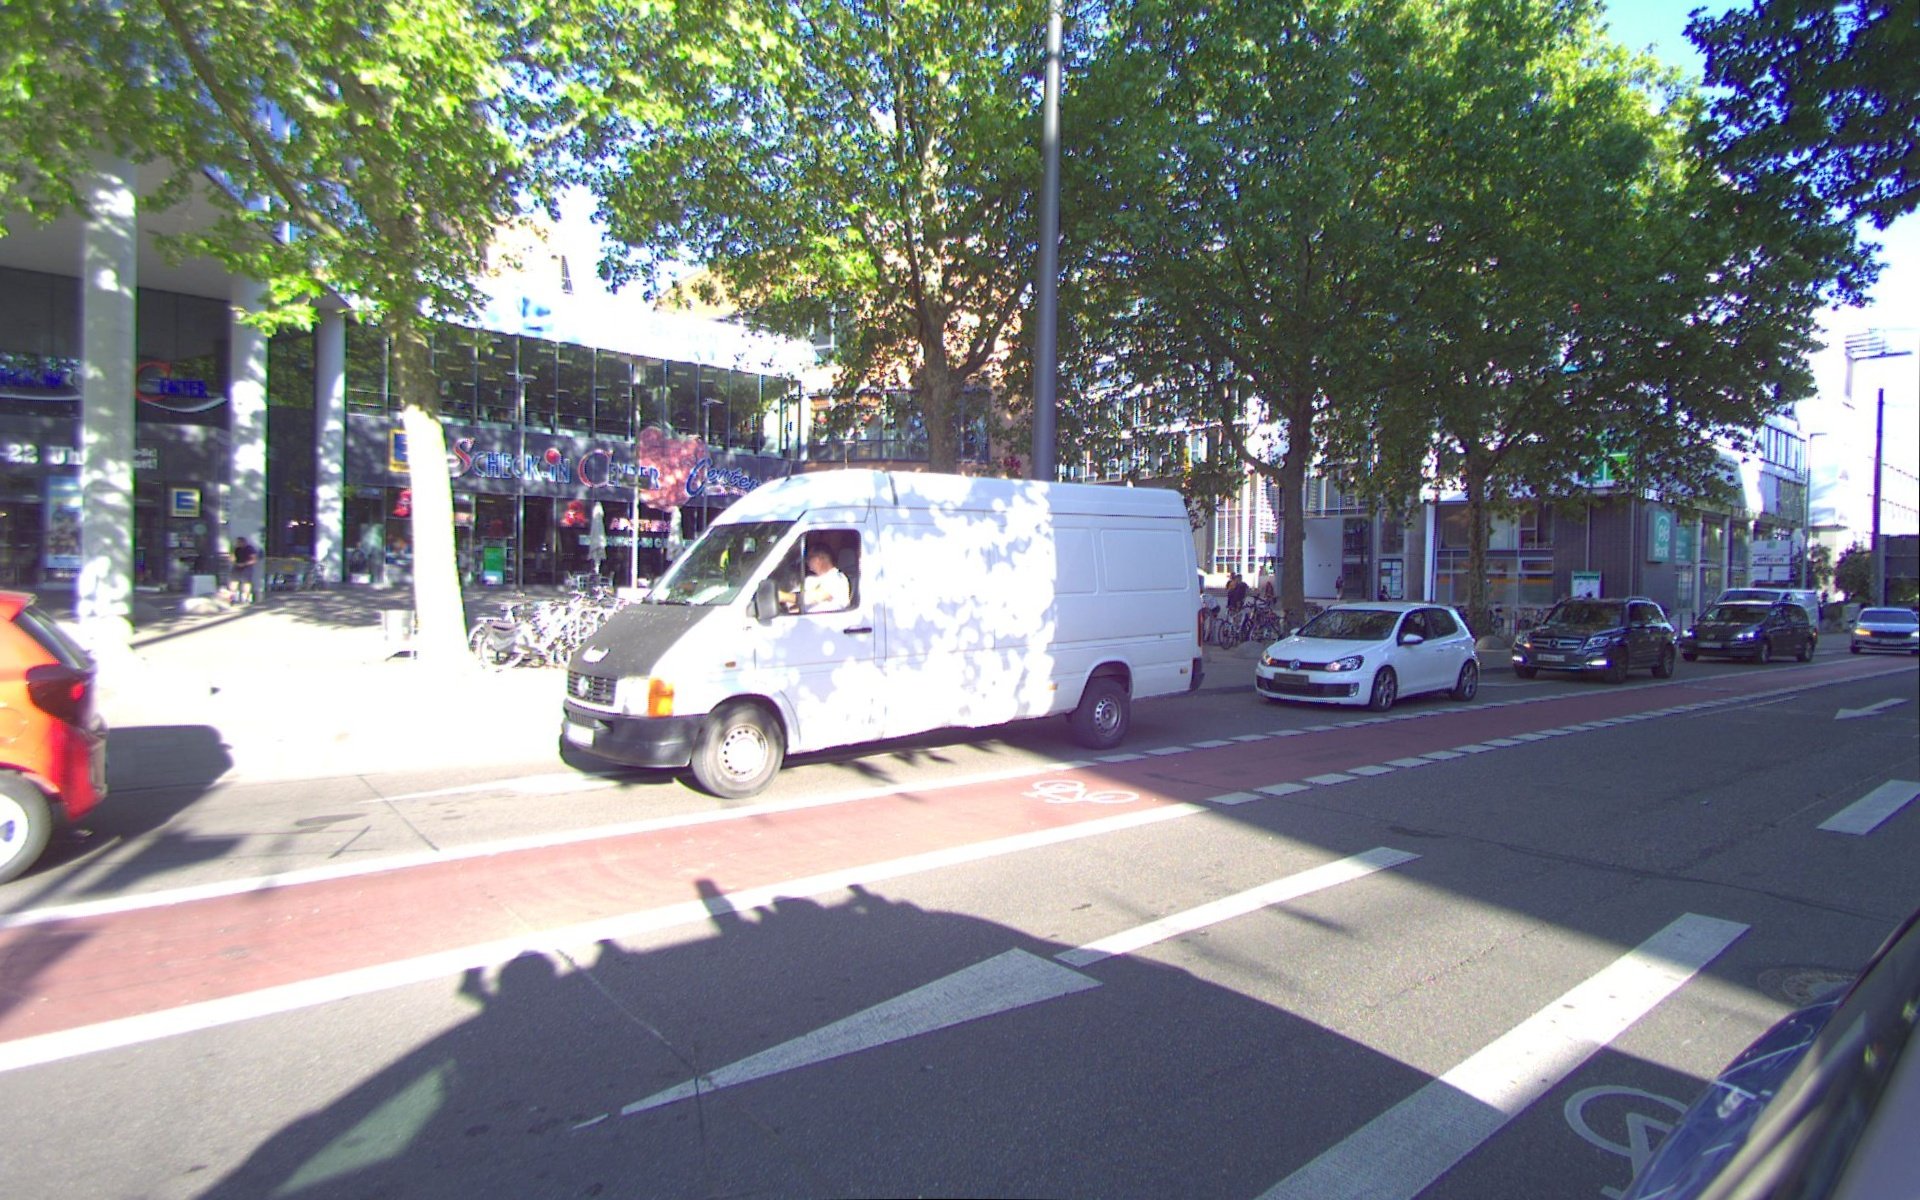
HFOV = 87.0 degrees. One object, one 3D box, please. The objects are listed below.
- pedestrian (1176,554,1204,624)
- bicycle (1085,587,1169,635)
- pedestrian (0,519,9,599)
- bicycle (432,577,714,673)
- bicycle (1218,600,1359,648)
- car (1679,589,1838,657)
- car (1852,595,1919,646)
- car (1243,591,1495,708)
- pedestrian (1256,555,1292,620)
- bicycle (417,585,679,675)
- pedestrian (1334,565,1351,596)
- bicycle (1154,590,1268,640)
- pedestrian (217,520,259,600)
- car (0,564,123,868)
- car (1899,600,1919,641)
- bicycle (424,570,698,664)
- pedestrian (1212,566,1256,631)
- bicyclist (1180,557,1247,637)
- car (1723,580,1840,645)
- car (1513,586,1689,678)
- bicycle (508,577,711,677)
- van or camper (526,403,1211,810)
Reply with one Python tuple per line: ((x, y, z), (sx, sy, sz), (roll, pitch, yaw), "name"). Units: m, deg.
((8.862, -0.421, 38.956), (0.967, 2.681, 0.897), (0, 0, 18), "pedestrian")
((4.501, 0.269, 27.115), (2.653, 1.215, 0.698), (-1, 1, -41), "bicycle")
((-23.466, -0.986, 24.099), (0.857, 1.912, 0.813), (1, 2, 2), "pedestrian")
((-5.518, 0.302, 14.694), (3.744, 1.236, 0.758), (-2, 1, -35), "bicycle")
((7.596, 0.539, 23.396), (3.136, 1.038, 0.979), (0, 0, -18), "bicycle")
((21.050, 0.560, 26.646), (4.301, 1.656, 1.714), (0, 0, -28), "car")
((29.423, 0.608, 31.919), (1.831, 1.508, 4.130), (1, 1, 43), "car")
((5.942, 0.613, 14.518), (3.914, 1.446, 1.639), (0, 0, -38), "car")
((11.160, -0.443, 35.986), (0.884, 2.261, 0.845), (0, 0, -19), "pedestrian")
((-6.384, 0.412, 15.936), (3.746, 1.236, 0.793), (-2, 1, -37), "bicycle")
((25.613, -1.297, 67.758), (0.860, 2.039, 0.796), (0, 0, -41), "pedestrian")
((6.573, 0.359, 26.776), (1.124, 1.097, 3.342), (0, 2, -23), "bicycle")
((-18.790, -1.024, 26.358), (0.843, 2.039, 1.024), (0, 0, -34), "pedestrian")
((-6.137, 0.556, 4.612), (3.535, 1.478, 1.492), (0, 0, -42), "car")
((36.479, 0.739, 37.446), (4.117, 1.508, 1.836), (0, -1, -37), "car")
((-5.931, 0.301, 15.307), (3.743, 1.236, 0.729), (4, -2, -35), "bicycle")
((9.726, -0.061, 35.956), (1.195, 2.276, 1.052), (0, 0, -3), "pedestrian")
((6.655, -0.091, 26.582), (1.132, 2.039, 1.301), (0, 1, -24), "bicyclist")
((27.107, 0.371, 33.311), (5.813, 1.989, 1.932), (0, 0, -40), "car")
((12.842, 0.566, 20.174), (4.174, 1.656, 1.768), (0, 0, -40), "car")
((-4.739, 0.328, 13.811), (2.504, 1.236, 0.758), (-2, 1, -35), "bicycle")
((-0.411, 0.009, 9.445), (6.384, 2.647, 2.004), (0, 1, -41), "van or camper")
